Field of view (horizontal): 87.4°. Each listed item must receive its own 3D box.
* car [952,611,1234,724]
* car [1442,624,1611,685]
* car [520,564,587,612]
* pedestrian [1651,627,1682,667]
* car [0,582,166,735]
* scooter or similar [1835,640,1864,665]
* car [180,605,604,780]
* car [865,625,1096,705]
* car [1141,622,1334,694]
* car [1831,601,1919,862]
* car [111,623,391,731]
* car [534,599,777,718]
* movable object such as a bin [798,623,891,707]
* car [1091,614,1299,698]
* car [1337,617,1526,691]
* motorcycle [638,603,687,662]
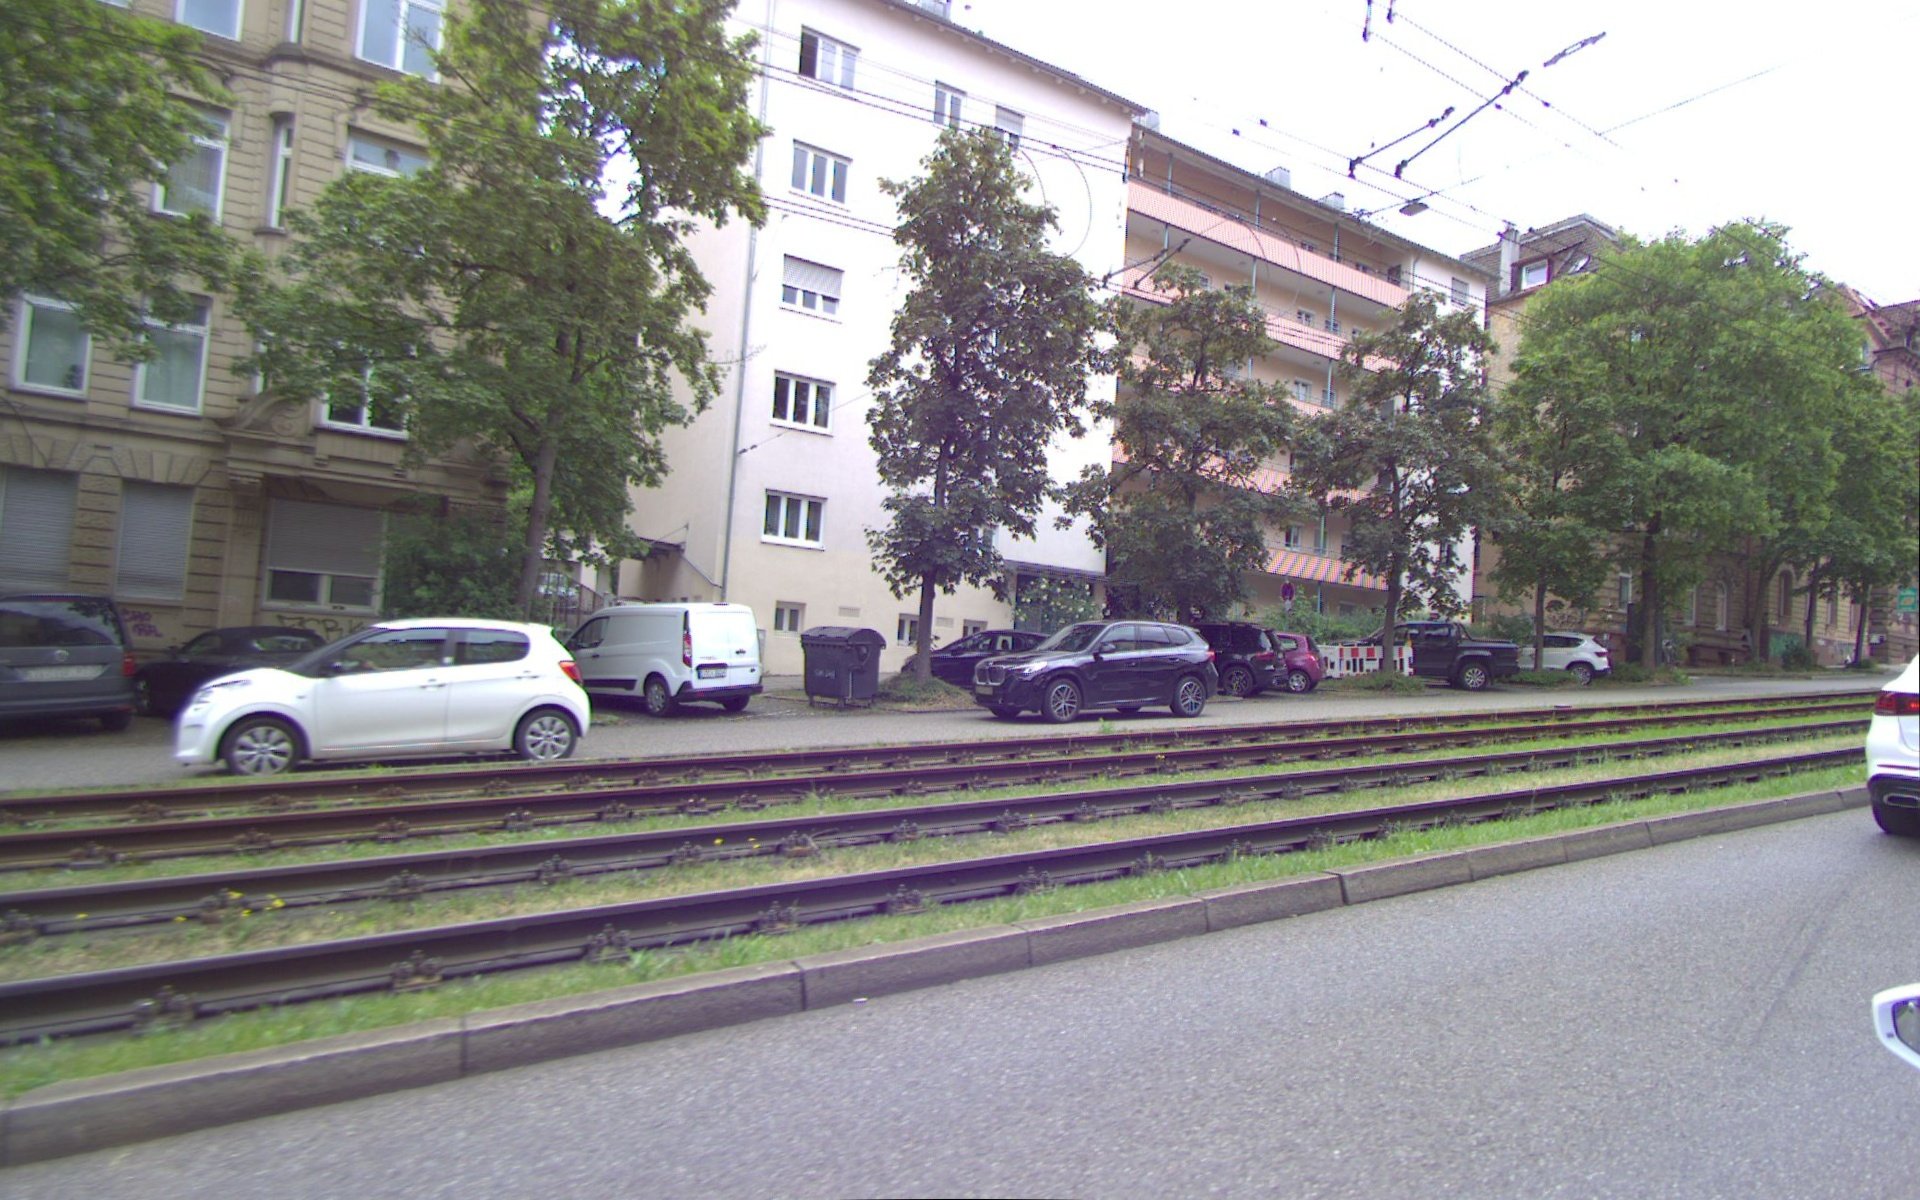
[{"bbox_3d":[2.289,1.100,16.939,4.555,1.671,1.908,2,-3,-31],"label":"car"},{"bbox_3d":[17.895,1.682,32.015,4.522,1.639,1.934,2,0,27],"label":"car"},{"bbox_3d":[-15.524,-0.403,38.233,1.779,1.644,3.967,1,-2,-31],"label":"car"},{"bbox_3d":[30.340,2.027,43.127,0.839,1.706,0.827,2,-2,-31],"label":"pedestrian"},{"bbox_3d":[-12.650,0.716,13.393,4.117,1.791,1.868,0,-2,31],"label":"car"},{"bbox_3d":[47.610,2.803,53.762,2.191,1.271,0.625,2,-1,-33],"label":"scooter or similar"},{"bbox_3d":[-5.434,0.839,9.925,3.373,1.454,1.580,2,-3,-31],"label":"car"},{"bbox_3d":[0.420,1.306,21.412,4.522,1.362,1.934,2,0,28],"label":"car"},{"bbox_3d":[7.202,1.438,26.160,4.522,1.569,1.934,2,0,28],"label":"car"},{"bbox_3d":[8.452,0.932,7.343,4.618,1.689,1.826,2,0,-31],"label":"car"},{"bbox_3d":[-10.522,1.050,14.862,4.117,1.357,1.868,0,-2,31],"label":"car"},{"bbox_3d":[-5.355,0.950,17.549,4.121,1.860,1.866,0,-2,34],"label":"car"},{"bbox_3d":[-2.091,1.140,18.099,1.261,1.419,1.090,1,-1,45],"label":"movable object such as a bin"},{"bbox_3d":[5.654,1.276,24.267,4.522,1.704,1.934,2,0,28],"label":"car"},{"bbox_3d":[13.217,1.469,28.457,4.514,1.821,1.937,2,0,14],"label":"car"},{"bbox_3d":[-7.551,0.807,25.449,0.759,1.436,2.167,1,-1,-28],"label":"motorcycle"}]
